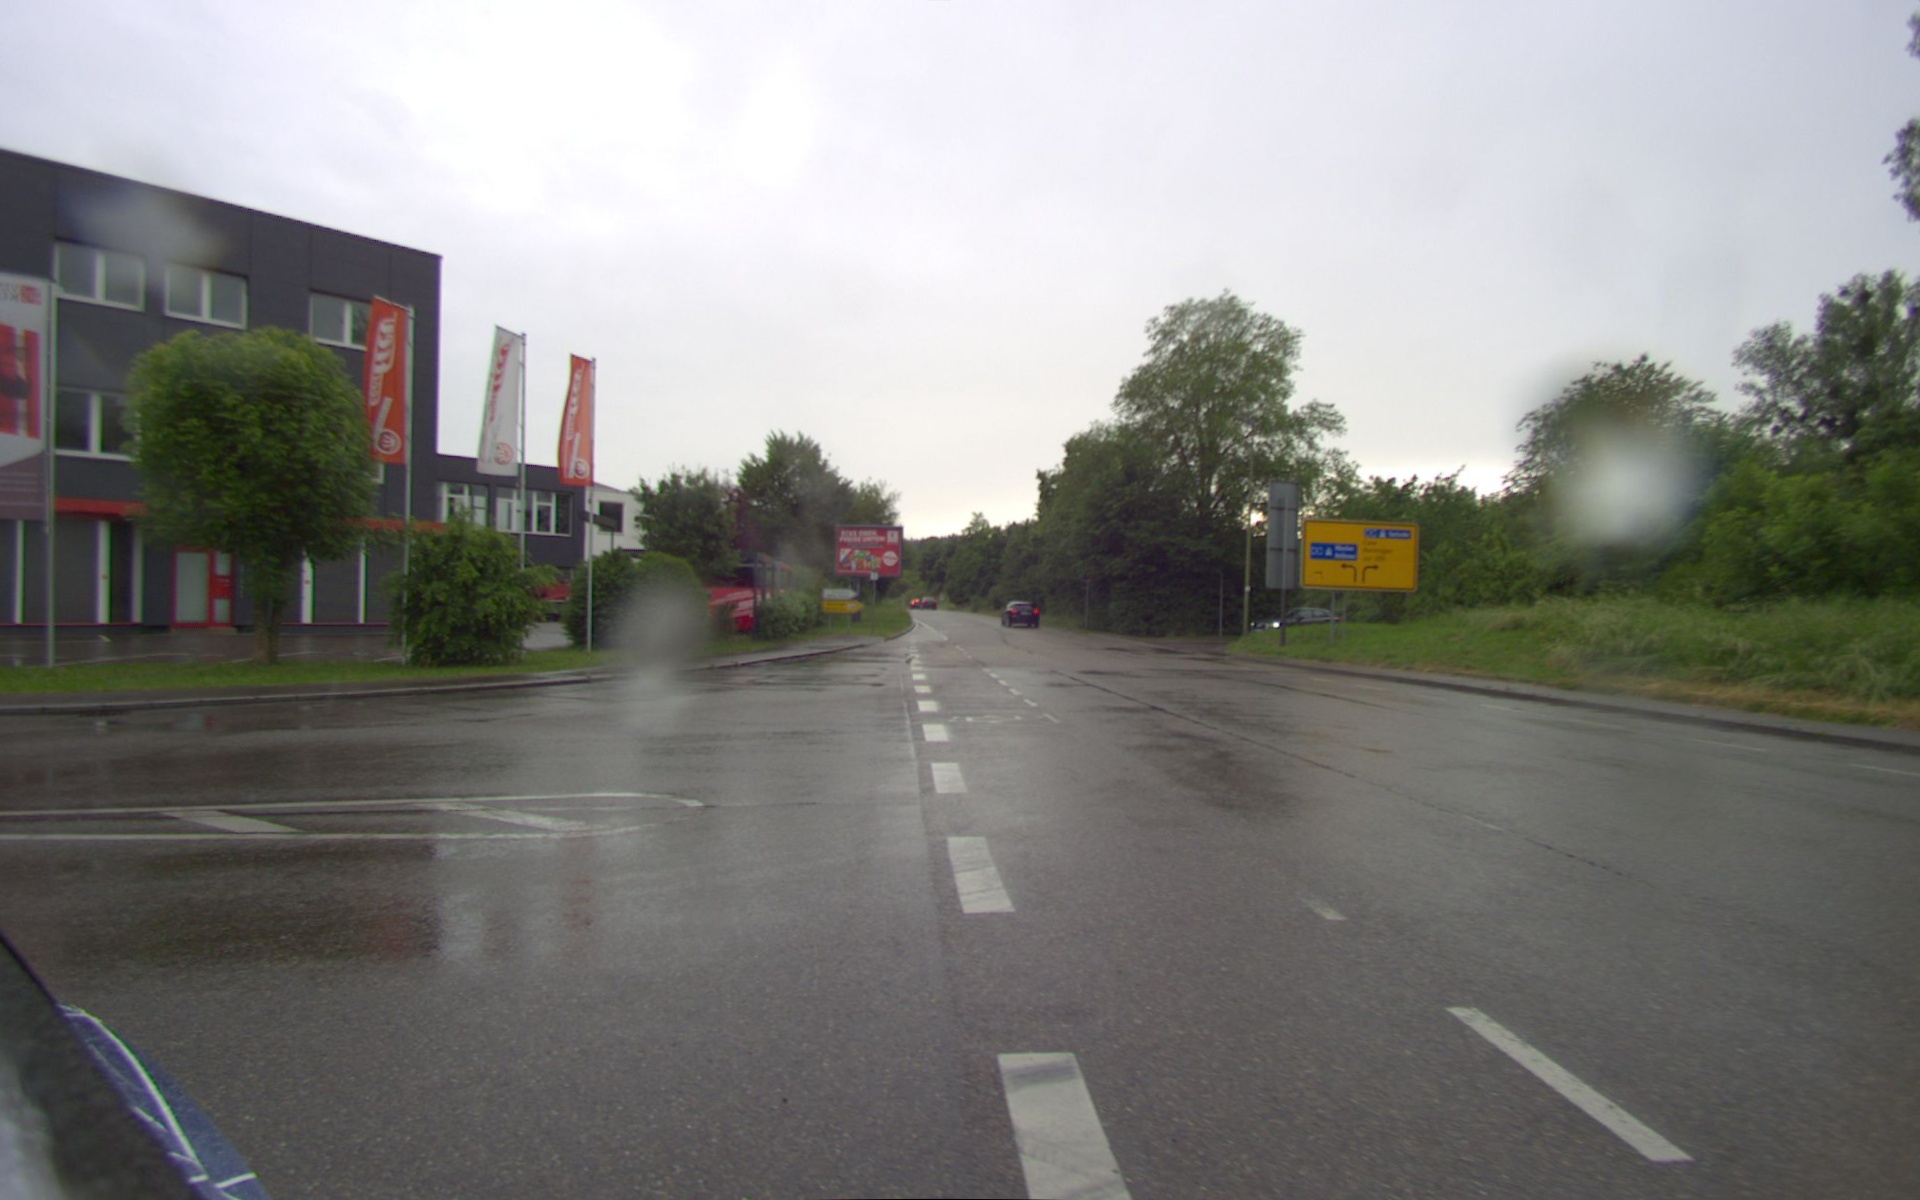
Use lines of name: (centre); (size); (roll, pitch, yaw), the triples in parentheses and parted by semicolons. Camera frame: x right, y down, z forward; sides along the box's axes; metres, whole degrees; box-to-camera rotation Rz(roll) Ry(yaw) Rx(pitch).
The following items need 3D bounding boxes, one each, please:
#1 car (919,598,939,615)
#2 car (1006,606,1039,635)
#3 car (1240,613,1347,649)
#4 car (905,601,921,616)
car: (-3.843, 0.791, 123.946); (1.968, 2.029, 4.007); (1, 0, -8)
car: (3.546, 1.154, 57.564); (1.811, 1.535, 3.996); (1, -1, 3)
car: (14.449, 1.327, 43.875); (4.050, 1.501, 1.862); (1, -1, -17)
car: (-6.614, 1.140, 142.290); (1.781, 2.029, 4.007); (1, 0, -8)
